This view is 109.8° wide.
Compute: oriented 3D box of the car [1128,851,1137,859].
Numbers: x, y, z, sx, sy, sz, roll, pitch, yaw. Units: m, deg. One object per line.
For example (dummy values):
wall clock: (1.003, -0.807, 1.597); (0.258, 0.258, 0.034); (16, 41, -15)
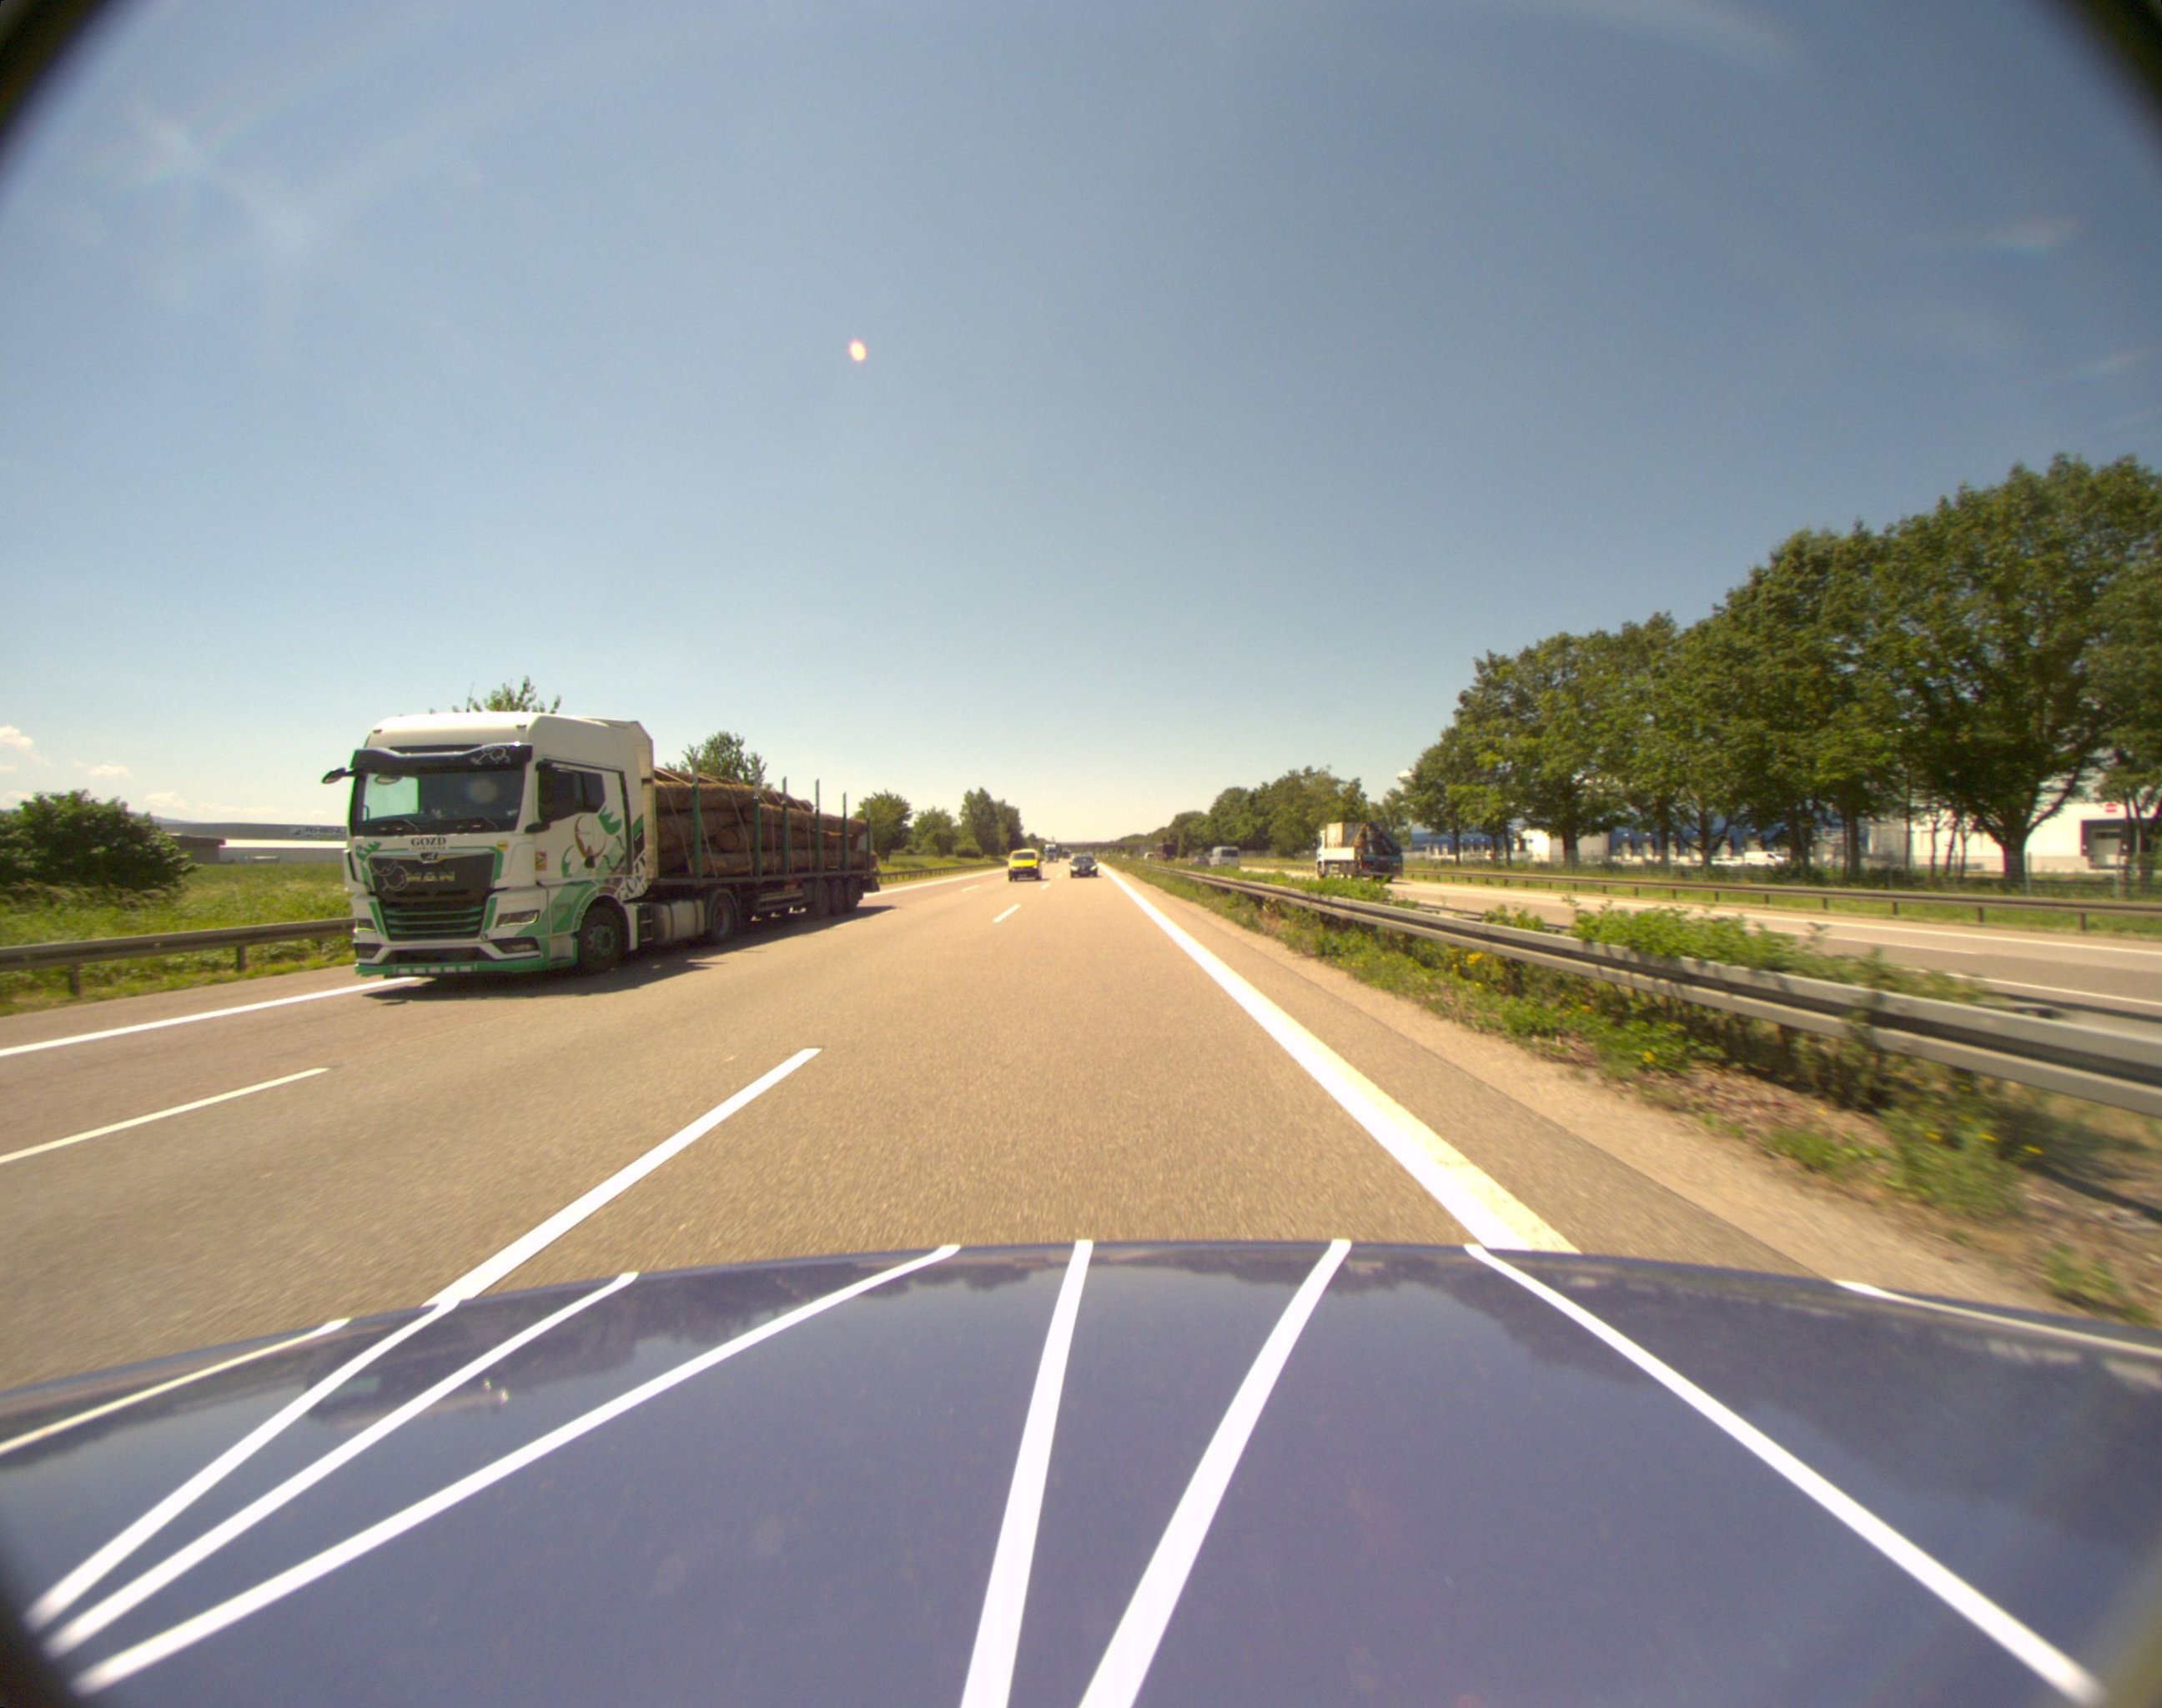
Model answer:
car: (10.843, 0.159, 160.351); (1.693, 1.503, 3.879); (-2, 1, 5)

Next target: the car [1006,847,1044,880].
car: (-3.508, 0.557, 48.139); (1.958, 1.939, 3.999); (-2, 1, 1)

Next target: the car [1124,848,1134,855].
car: (11.907, -0.667, 188.518); (1.998, 1.718, 3.999); (-2, 1, 0)

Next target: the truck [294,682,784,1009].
truck: (-8.210, -0.115, 13.253); (2.699, 3.943, 7.703); (-2, 0, 2)

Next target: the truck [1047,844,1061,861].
truck: (-6.007, -0.360, 170.874); (2.976, 3.626, 7.148); (-2, 1, -1)

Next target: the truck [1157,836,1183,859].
truck: (19.100, -1.384, 163.704); (4.429, 4.580, 11.979); (-2, 1, 1)

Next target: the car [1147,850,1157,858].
car: (14.754, -0.010, 157.483); (1.682, 1.645, 3.850); (-2, 1, 1)

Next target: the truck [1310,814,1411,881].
truck: (17.447, -0.416, 48.300); (3.012, 3.769, 9.600); (0, 1, 0)

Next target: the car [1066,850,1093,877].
car: (-0.069, 0.622, 51.618); (1.690, 1.646, 3.461); (-2, 1, 1)

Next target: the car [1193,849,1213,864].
car: (14.533, 0.263, 90.794); (1.916, 1.695, 3.781); (1, 0, 3)

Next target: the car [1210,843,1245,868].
car: (13.825, 0.146, 72.194); (2.318, 2.275, 5.603); (1, 0, 1)

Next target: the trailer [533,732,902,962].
trailer: (-8.024, -0.162, 20.321); (2.699, 3.943, 13.961); (-2, 0, 2)
